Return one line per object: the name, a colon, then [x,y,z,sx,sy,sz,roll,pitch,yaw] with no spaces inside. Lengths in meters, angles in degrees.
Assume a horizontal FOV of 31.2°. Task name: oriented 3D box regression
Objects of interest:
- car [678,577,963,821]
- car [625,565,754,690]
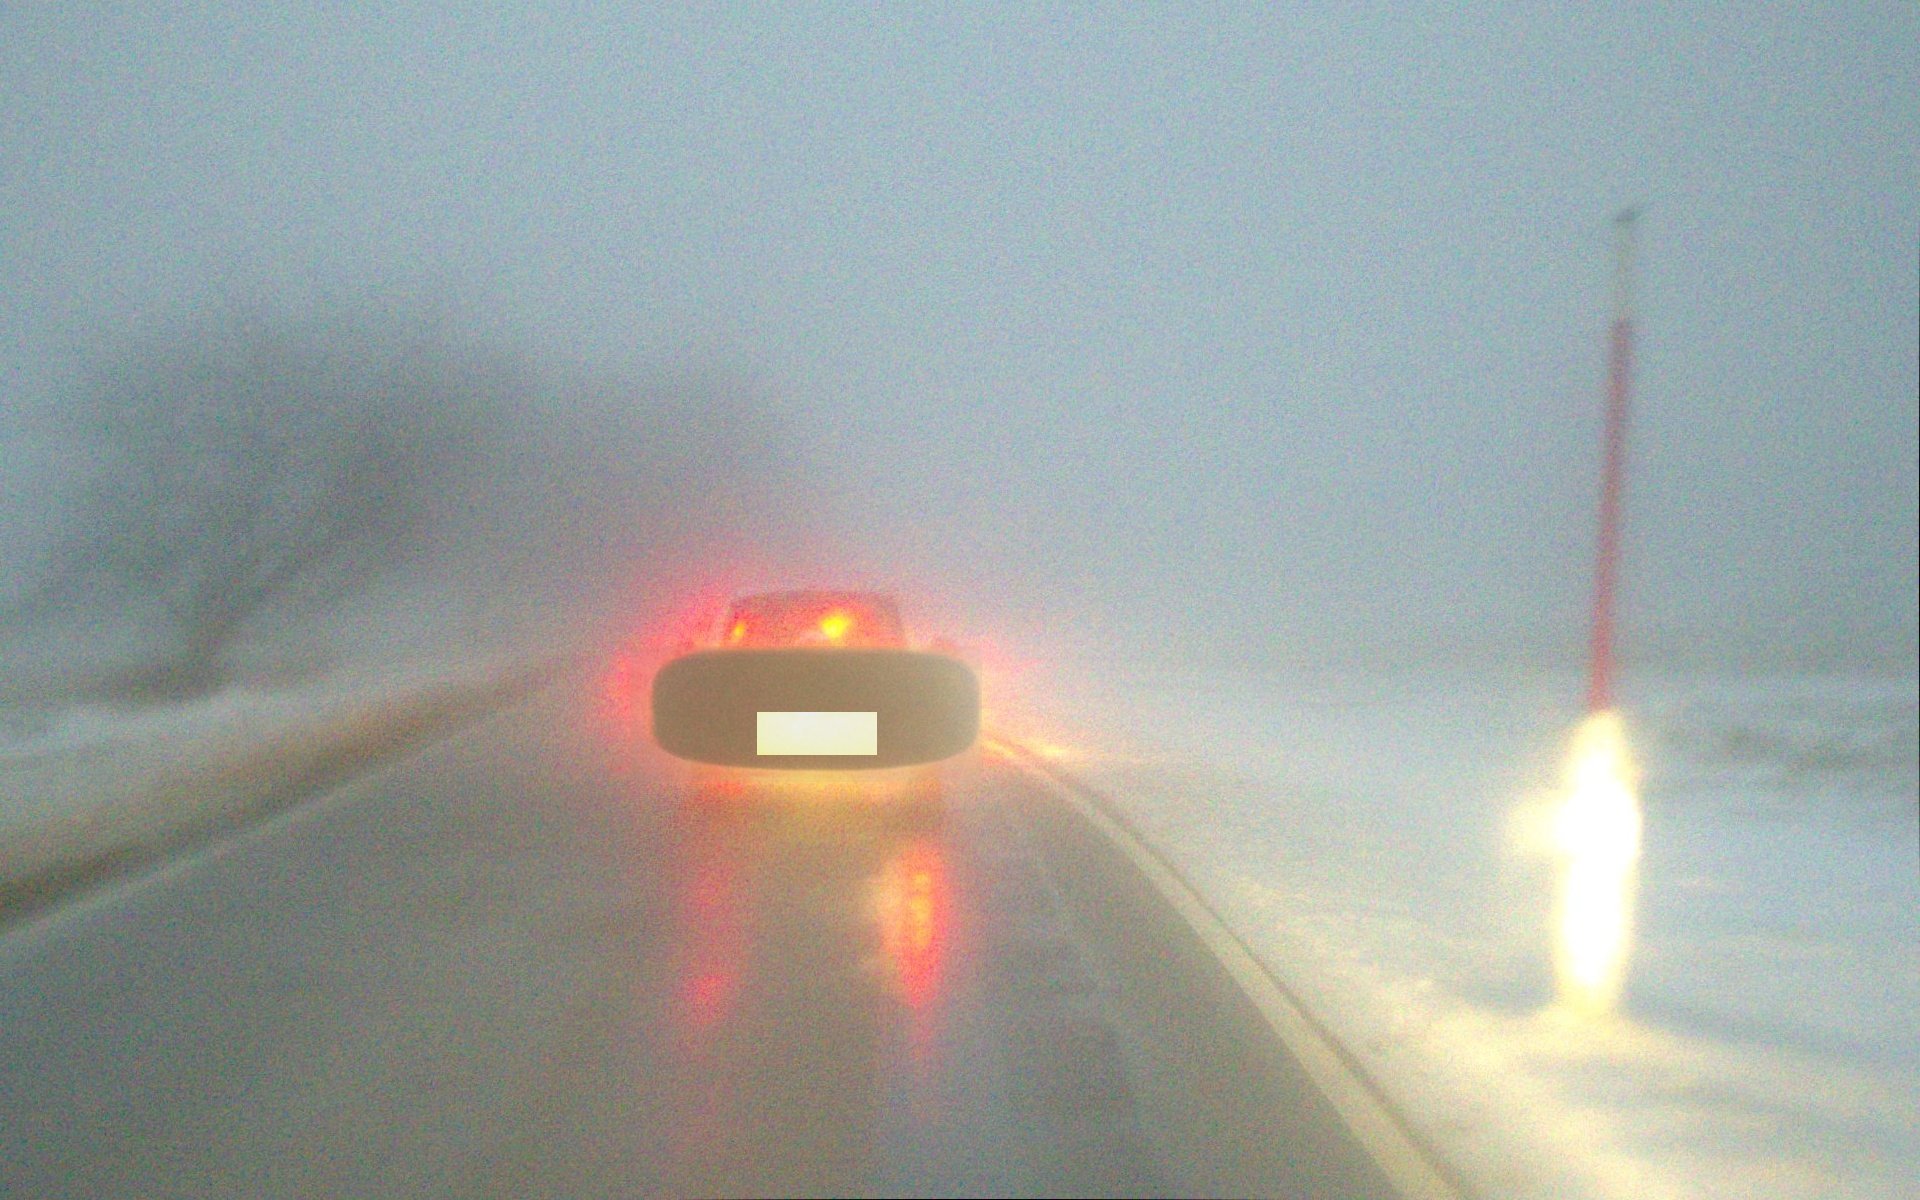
car: [-1.005,0.596,22.920,1.706,1.458,4.001,1,0,-5]
car: [-3.381,0.341,43.355,1.478,1.503,3.053,-1,0,-2]
